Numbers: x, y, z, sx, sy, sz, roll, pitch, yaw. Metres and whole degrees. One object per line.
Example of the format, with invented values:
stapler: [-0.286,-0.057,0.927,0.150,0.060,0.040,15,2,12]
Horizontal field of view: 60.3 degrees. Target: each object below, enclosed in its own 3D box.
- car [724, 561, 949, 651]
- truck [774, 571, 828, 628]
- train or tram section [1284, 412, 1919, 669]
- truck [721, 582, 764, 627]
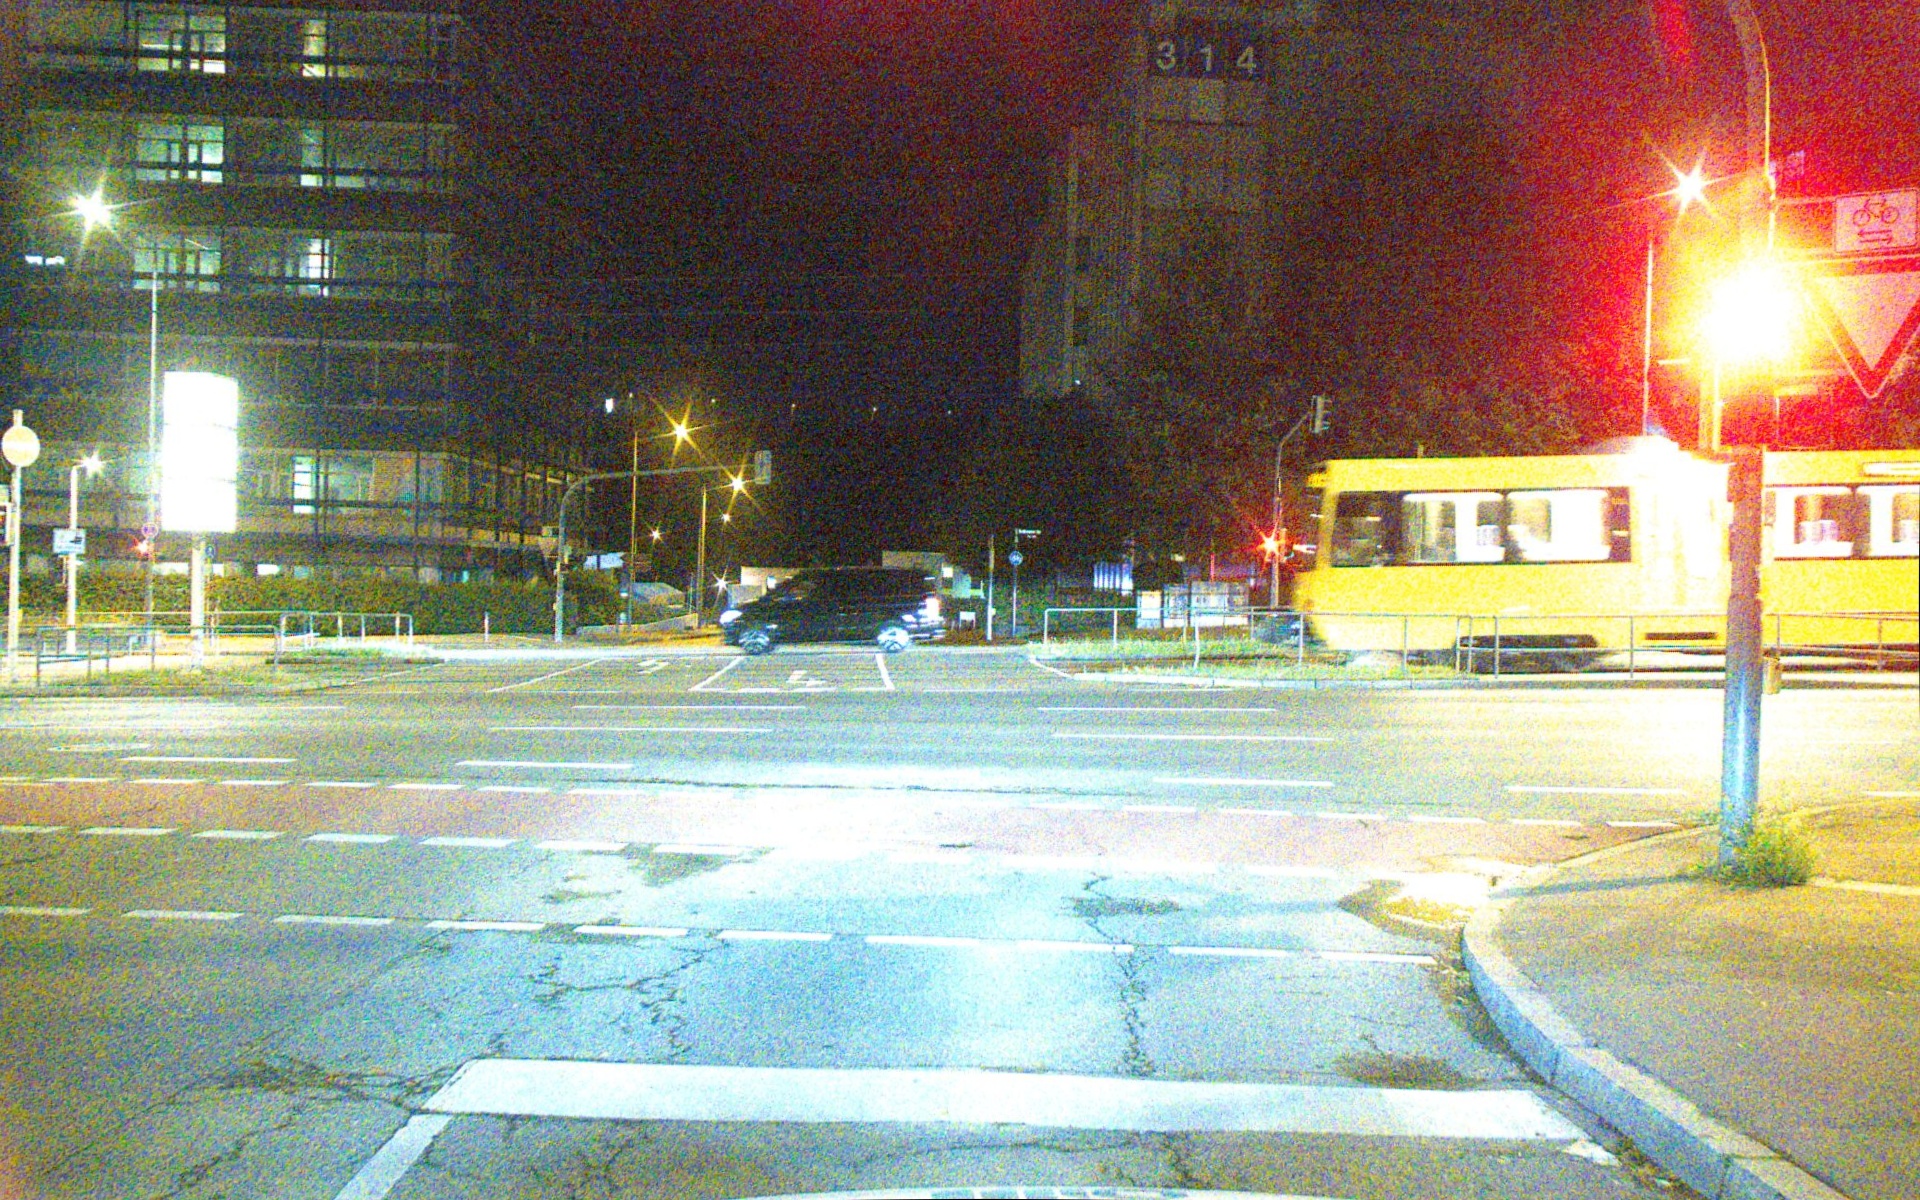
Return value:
car: [-2.764,0.133,37.705,4.839,1.917,1.870,1,-1,4]
truck: [-14.346,-0.033,148.993,3.307,4.927,7.868,1,-1,-17]
train or tram section: [14.654,-1.023,27.297,18.033,3.916,2.967,-1,2,3]
truck: [-15.798,0.355,119.655,2.377,3.143,6.414,1,-1,-14]
